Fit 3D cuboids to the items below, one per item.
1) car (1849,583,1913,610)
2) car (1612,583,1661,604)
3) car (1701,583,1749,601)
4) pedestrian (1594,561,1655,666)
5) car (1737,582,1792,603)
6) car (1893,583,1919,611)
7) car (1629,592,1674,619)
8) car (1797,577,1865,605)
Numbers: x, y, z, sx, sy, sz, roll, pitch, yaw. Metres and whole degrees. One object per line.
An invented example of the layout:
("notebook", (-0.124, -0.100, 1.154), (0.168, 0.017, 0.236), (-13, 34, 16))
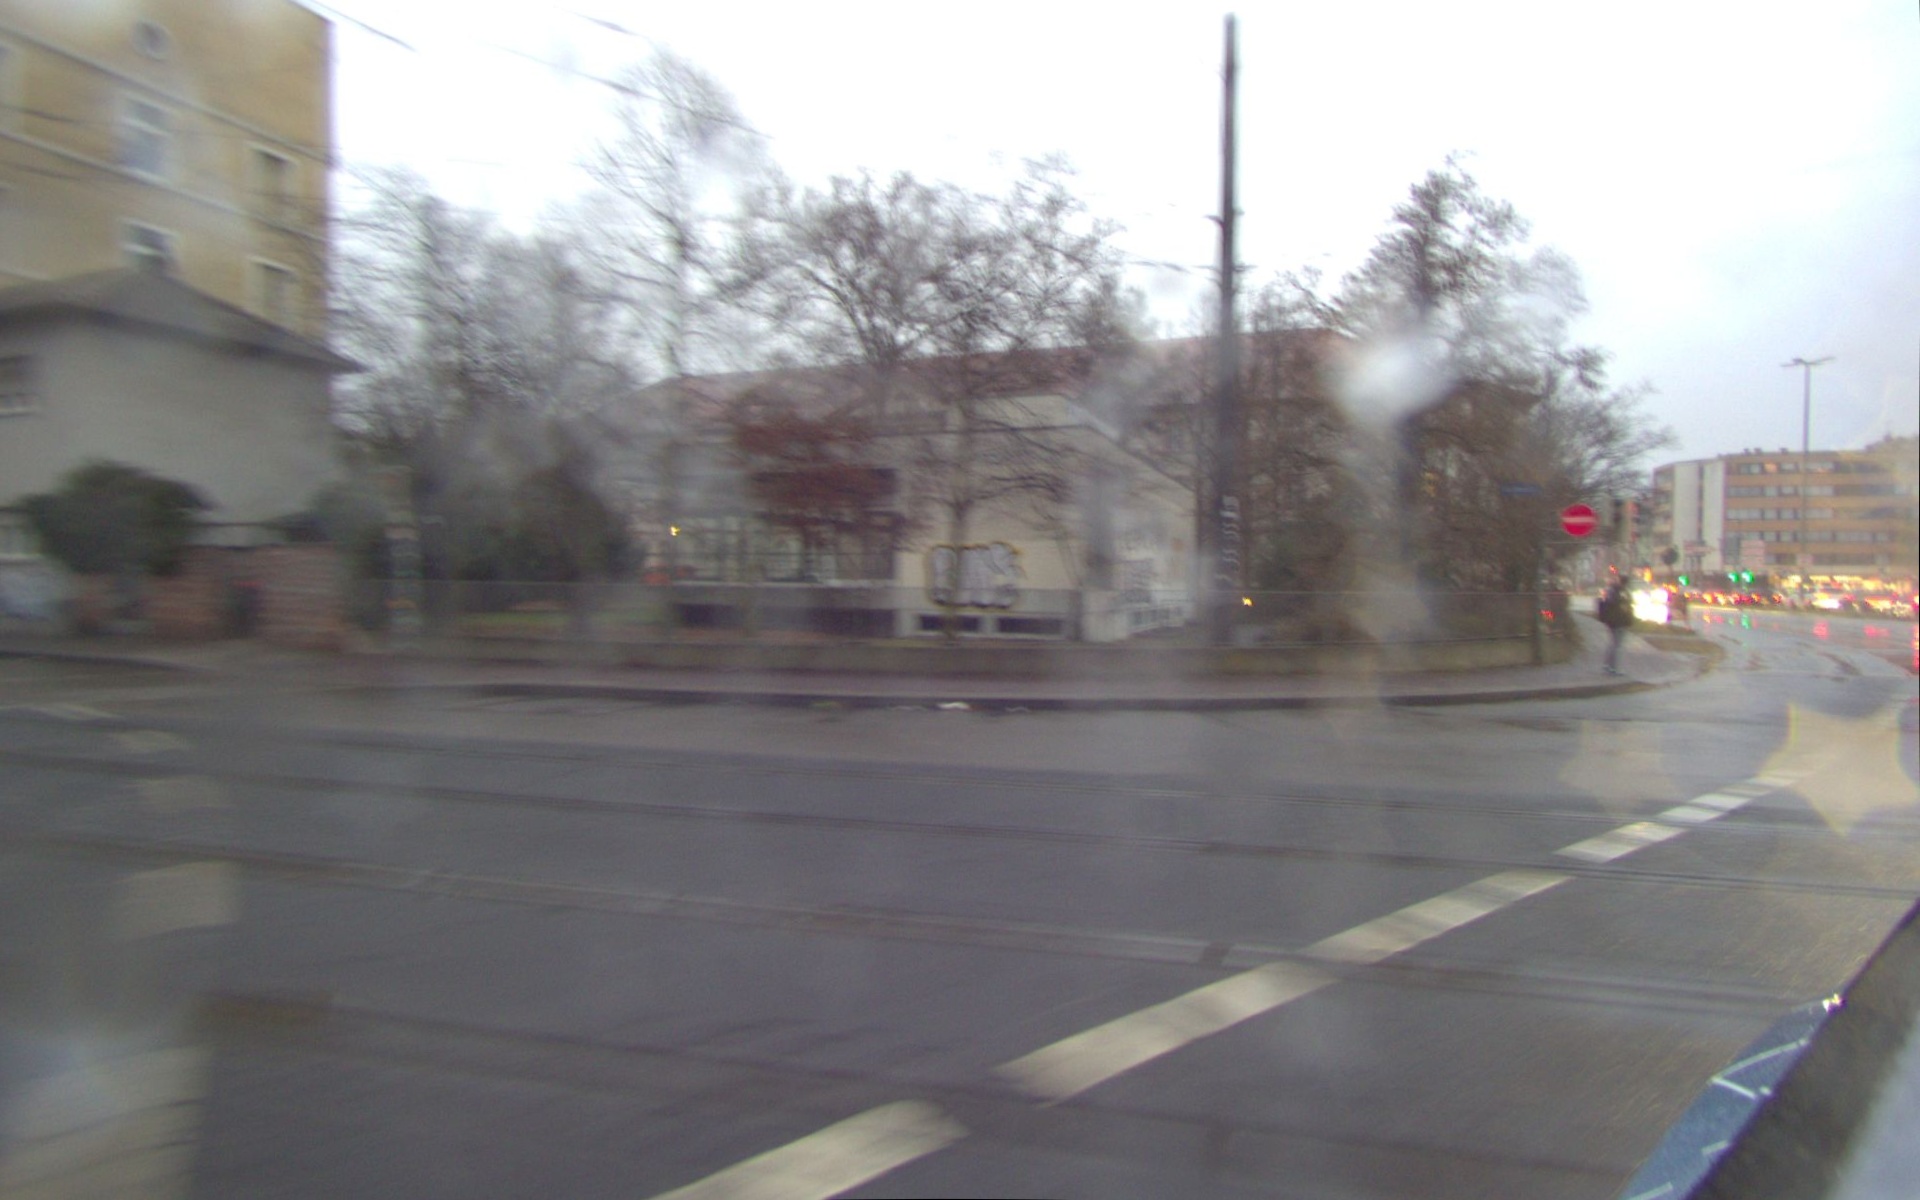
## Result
("car", (55.920, -0.245, 61.523), (1.632, 1.505, 3.969), (2, 1, 23))
("car", (49.457, -0.514, 74.075), (1.945, 1.403, 4.504), (2, 1, 20))
("car", (64.376, -0.666, 85.257), (1.945, 1.403, 4.504), (2, 1, 20))
("pedestrian", (12.316, 0.239, 18.756), (0.671, 1.860, 0.574), (2, 5, -42))
("car", (61.603, -0.609, 77.583), (1.945, 1.533, 4.504), (2, 1, 20))
("car", (53.149, -0.158, 55.466), (1.632, 1.505, 4.112), (2, 1, 23))
("car", (54.257, 0.400, 79.462), (1.976, 2.038, 3.973), (1, 2, 21))
("car", (58.678, -0.620, 68.259), (1.945, 1.805, 4.504), (2, 1, 20))
